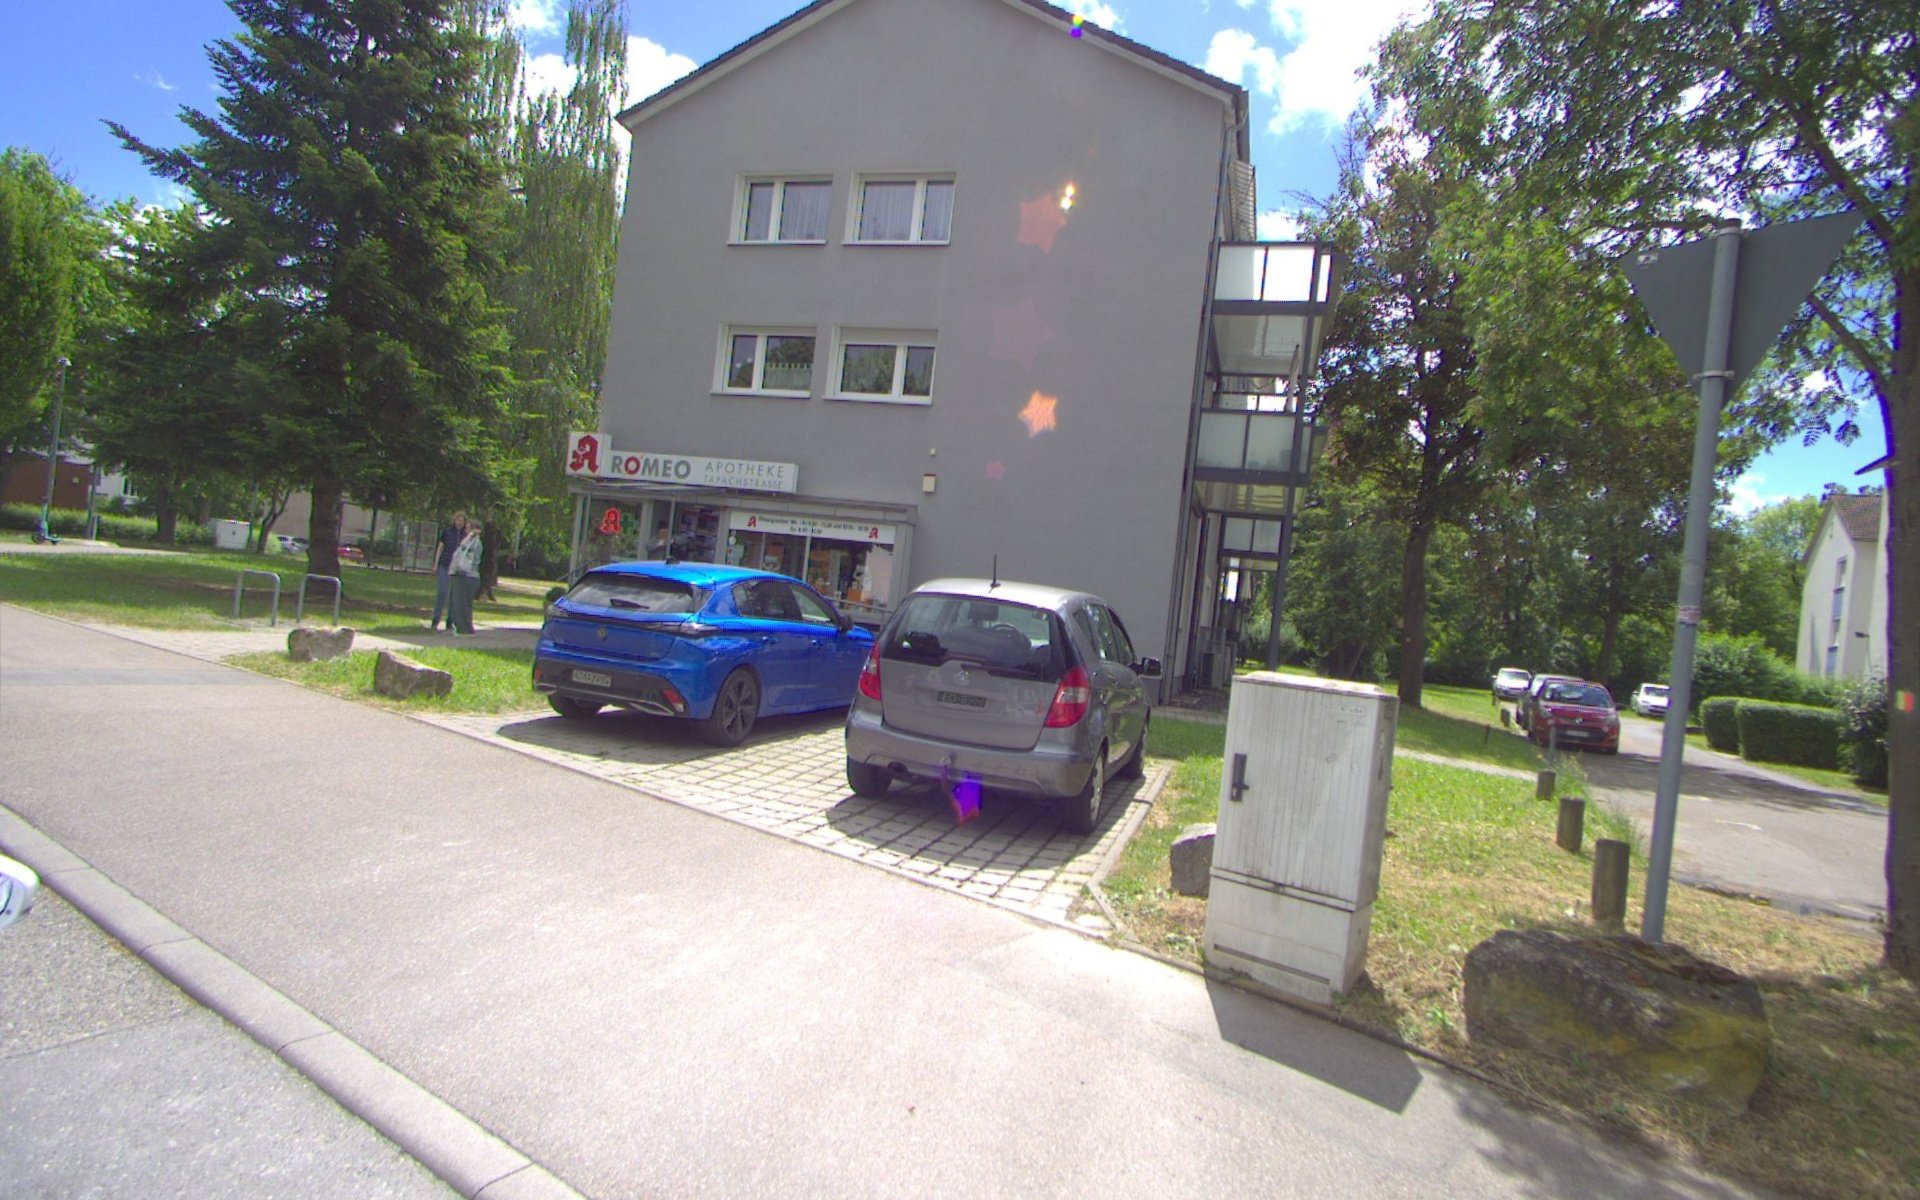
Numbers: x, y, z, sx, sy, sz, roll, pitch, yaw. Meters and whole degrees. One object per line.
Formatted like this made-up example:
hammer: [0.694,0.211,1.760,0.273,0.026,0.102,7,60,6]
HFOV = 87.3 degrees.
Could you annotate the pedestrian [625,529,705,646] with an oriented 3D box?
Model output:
pedestrian: [-5.326,-0.216,18.208,0.924,1.981,0.843,6,1,11]

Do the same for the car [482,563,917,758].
car: [-2.168,0.451,9.872,1.962,1.260,4.494,7,2,17]

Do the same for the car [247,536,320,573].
car: [-47.714,-3.192,70.954,3.924,1.964,2.003,7,-2,15]

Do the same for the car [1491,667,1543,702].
car: [26.784,4.079,48.334,1.966,1.328,3.996,6,-3,30]

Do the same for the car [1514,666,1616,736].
car: [16.524,2.698,27.661,1.884,1.522,3.996,7,0,26]

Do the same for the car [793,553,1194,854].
car: [0.540,0.617,7.936,1.994,1.577,3.738,7,2,19]

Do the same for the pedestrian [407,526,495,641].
pedestrian: [-7.316,-0.230,14.484,0.678,1.549,0.744,6,1,22]

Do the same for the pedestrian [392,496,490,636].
pedestrian: [-8.058,-0.522,15.630,1.027,2.039,0.656,6,1,18]

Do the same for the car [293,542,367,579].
car: [-43.676,-2.716,69.778,3.924,1.964,2.021,7,-2,15]

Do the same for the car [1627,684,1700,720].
car: [31.807,4.619,45.616,1.965,1.328,4.000,6,-3,26]

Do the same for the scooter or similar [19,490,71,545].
scooter or similar: [-24.120,-2.156,26.527,0.479,1.360,1.381,5,1,-22]

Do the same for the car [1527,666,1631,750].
car: [13.875,2.439,22.654,1.702,1.519,3.878,6,-3,31]
